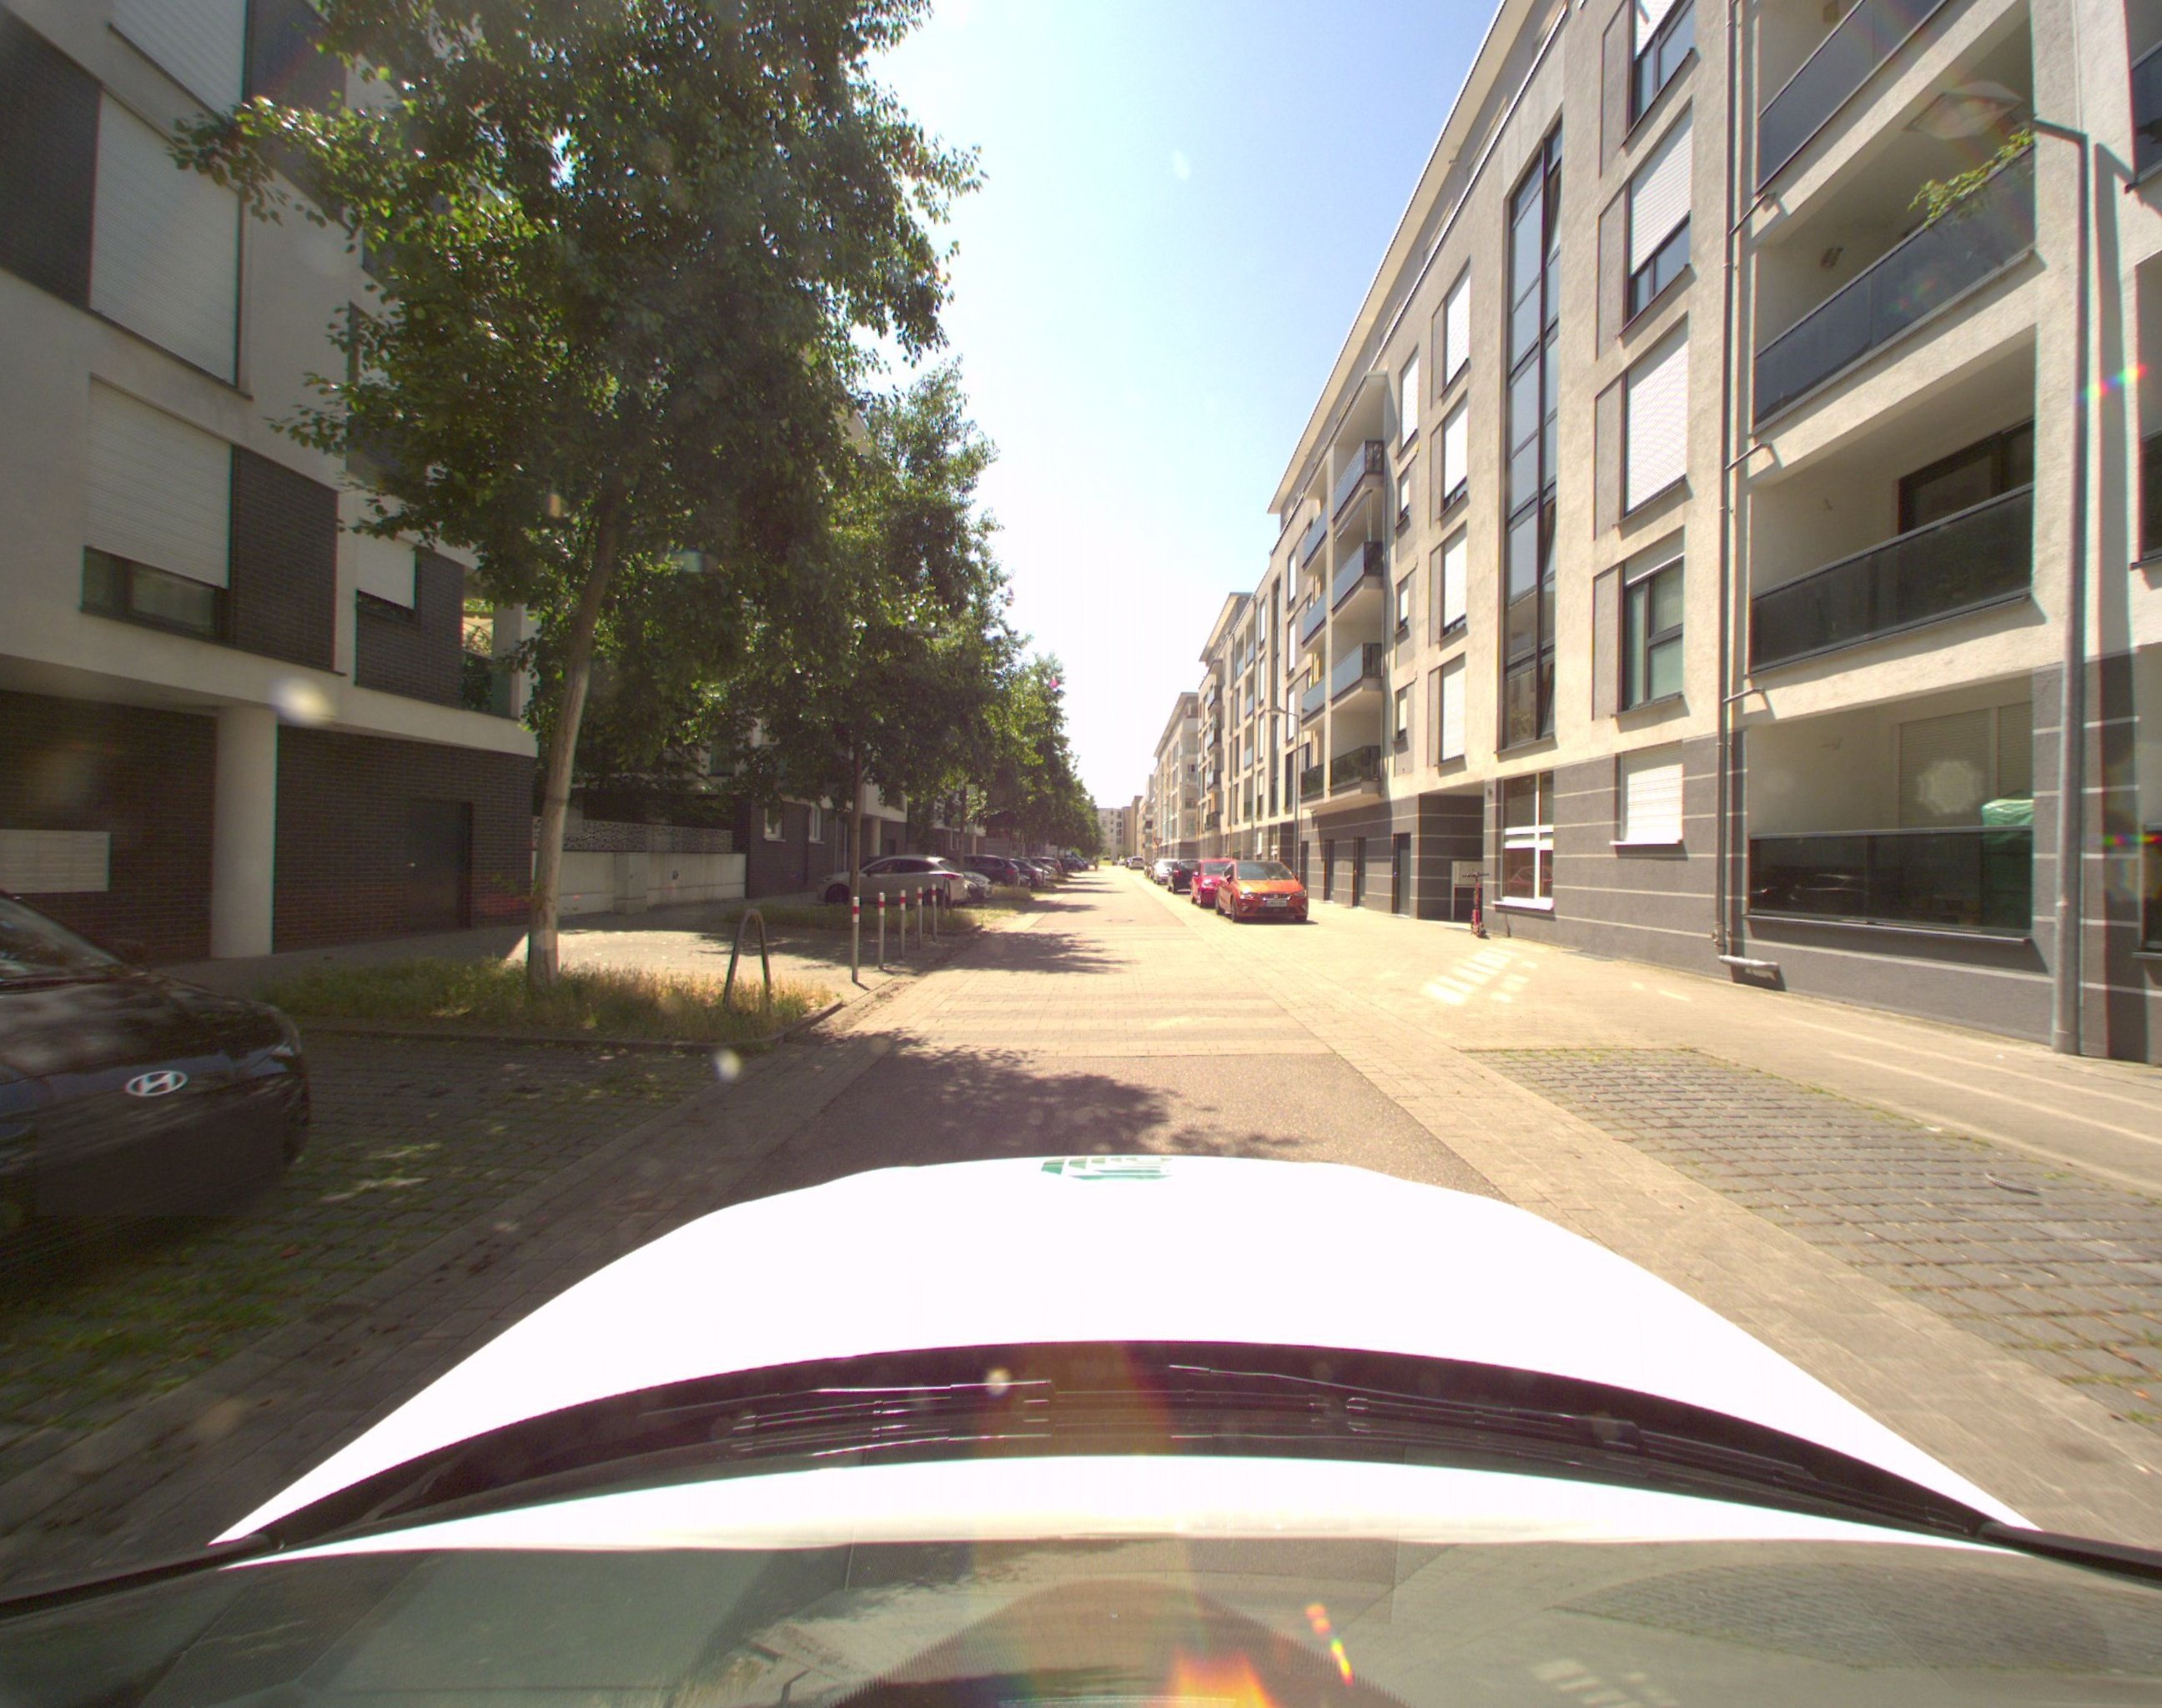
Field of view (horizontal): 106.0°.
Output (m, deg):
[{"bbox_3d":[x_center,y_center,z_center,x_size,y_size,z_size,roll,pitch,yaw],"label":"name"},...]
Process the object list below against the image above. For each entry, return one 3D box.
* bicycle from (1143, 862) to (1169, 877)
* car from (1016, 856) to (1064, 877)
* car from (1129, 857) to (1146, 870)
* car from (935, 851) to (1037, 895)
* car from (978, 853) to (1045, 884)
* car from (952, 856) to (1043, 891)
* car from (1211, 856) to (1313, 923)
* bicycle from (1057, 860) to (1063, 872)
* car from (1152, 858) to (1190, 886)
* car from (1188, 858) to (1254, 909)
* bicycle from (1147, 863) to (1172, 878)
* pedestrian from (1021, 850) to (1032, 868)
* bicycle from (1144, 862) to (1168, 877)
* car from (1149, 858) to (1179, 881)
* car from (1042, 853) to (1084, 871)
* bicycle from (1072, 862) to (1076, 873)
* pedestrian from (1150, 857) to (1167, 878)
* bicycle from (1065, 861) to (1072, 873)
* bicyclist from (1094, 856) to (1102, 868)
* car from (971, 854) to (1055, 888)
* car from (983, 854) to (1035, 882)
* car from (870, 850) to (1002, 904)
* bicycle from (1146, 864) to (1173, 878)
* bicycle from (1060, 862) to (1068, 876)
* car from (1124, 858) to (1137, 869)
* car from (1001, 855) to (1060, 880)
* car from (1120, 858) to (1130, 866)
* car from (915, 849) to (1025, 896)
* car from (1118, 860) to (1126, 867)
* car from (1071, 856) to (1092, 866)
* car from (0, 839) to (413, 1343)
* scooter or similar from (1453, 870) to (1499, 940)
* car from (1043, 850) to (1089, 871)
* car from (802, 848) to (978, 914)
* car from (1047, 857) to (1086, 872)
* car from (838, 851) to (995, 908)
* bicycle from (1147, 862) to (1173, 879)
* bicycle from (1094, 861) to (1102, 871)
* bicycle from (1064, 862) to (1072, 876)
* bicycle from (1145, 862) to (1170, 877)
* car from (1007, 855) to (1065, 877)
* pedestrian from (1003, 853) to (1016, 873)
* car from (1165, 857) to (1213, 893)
[{"bbox_3d":[5.693,1.217,62.126,1.911,1.133,0.611,0,-1,10],"label":"bicycle"},{"bbox_3d":[-3.223,0.975,64.762,3.616,1.520,1.832,2,0,1],"label":"car"},{"bbox_3d":[7.145,1.220,102.866,1.989,1.657,4.117,0,0,2],"label":"car"},{"bbox_3d":[-3.983,0.794,34.706,3.970,1.651,1.920,2,0,3],"label":"car"},{"bbox_3d":[-3.964,0.837,46.788,3.700,1.586,1.818,2,-1,-4],"label":"car"},{"bbox_3d":[-3.783,0.877,37.347,3.964,1.445,1.774,2,-1,-2],"label":"car"},{"bbox_3d":[4.407,0.817,20.422,1.731,1.487,4.260,-1,0,2],"label":"car"},{"bbox_3d":[-2.229,1.301,86.012,0.517,1.204,1.752,2,1,0],"label":"bicycle"},{"bbox_3d":[5.168,1.017,47.114,1.827,1.505,4.352,-1,0,2],"label":"car"},{"bbox_3d":[4.386,0.873,25.960,1.589,1.486,3.677,-1,0,2],"label":"car"},{"bbox_3d":[5.744,1.222,59.818,1.782,1.104,0.746,0,-1,-2],"label":"bicycle"},{"bbox_3d":[-5.898,0.533,87.756,1.004,2.014,1.131,0,-1,5],"label":"pedestrian"},{"bbox_3d":[5.880,1.212,64.120,1.851,1.193,0.688,0,-1,4],"label":"bicycle"},{"bbox_3d":[5.627,1.009,55.428,1.732,1.485,4.231,0,0,2],"label":"car"},{"bbox_3d":[-2.230,1.045,103.075,5.126,2.119,2.312,2,0,1],"label":"car"},{"bbox_3d":[-0.747,1.414,85.937,0.464,1.141,1.926,1,0,0],"label":"bicycle"},{"bbox_3d":[5.812,1.010,61.303,1.178,1.515,0.686,0,-1,-8],"label":"pedestrian"},{"bbox_3d":[-1.343,1.352,85.732,0.569,1.174,1.765,4,1,-5],"label":"bicycle"},{"bbox_3d":[1.970,0.961,95.632,0.950,1.459,0.800,1,-1,1],"label":"bicyclist"},{"bbox_3d":[-3.647,0.897,44.364,4.347,1.710,1.999,-1,0,-1],"label":"car"},{"bbox_3d":[-4.364,0.862,49.802,2.923,1.500,1.848,3,0,0],"label":"car"},{"bbox_3d":[-4.778,0.729,27.283,3.971,1.592,1.885,2,0,2],"label":"car"},{"bbox_3d":[5.818,1.272,60.510,1.918,1.035,0.559,0,-1,-2],"label":"bicycle"},{"bbox_3d":[-1.403,1.269,67.209,0.434,1.128,1.972,0,0,-10],"label":"bicycle"},{"bbox_3d":[7.475,1.450,122.980,1.749,1.552,4.006,1,0,5],"label":"car"},{"bbox_3d":[-3.484,0.932,56.949,3.923,1.553,1.873,2,0,1],"label":"car"},{"bbox_3d":[9.218,1.757,171.523,1.987,1.675,4.000,1,0,1],"label":"car"},{"bbox_3d":[-4.315,0.712,32.186,3.972,1.629,1.934,2,0,1],"label":"car"},{"bbox_3d":[9.992,2.343,198.745,1.987,1.717,4.000,1,0,1],"label":"car"},{"bbox_3d":[0.068,1.472,167.333,3.964,2.014,2.005,1,-1,8],"label":"car"},{"bbox_3d":[-5.028,0.669,3.035,3.610,1.481,1.678,2,-1,1],"label":"car"},{"bbox_3d":[7.519,0.938,15.550,0.541,1.225,1.536,1,0,17],"label":"scooter or similar"},{"bbox_3d":[-1.915,0.876,108.504,6.001,2.816,2.606,0,-1,1],"label":"car"},{"bbox_3d":[-5.128,0.713,22.281,4.237,1.517,1.925,3,0,1],"label":"car"},{"bbox_3d":[-1.715,1.254,95.870,4.366,1.515,2.076,3,0,1],"label":"car"},{"bbox_3d":[-4.921,0.754,24.723,4.300,1.476,1.793,2,0,1],"label":"car"},{"bbox_3d":[5.729,1.183,59.071,1.865,1.218,0.715,0,-1,-2],"label":"bicycle"},{"bbox_3d":[1.952,1.446,95.583,0.895,1.129,2.040,1,0,1],"label":"bicycle"},{"bbox_3d":[-1.042,1.244,67.230,0.371,1.180,1.814,0,0,-10],"label":"bicycle"},{"bbox_3d":[5.813,1.189,61.758,1.838,1.148,0.458,0,-1,-18],"label":"bicycle"},{"bbox_3d":[-3.288,0.879,59.845,4.170,1.486,1.957,2,-2,-2],"label":"car"},{"bbox_3d":[-6.288,0.774,71.401,0.996,1.690,0.833,0,-1,2],"label":"pedestrian"},{"bbox_3d":[4.672,0.898,35.730,1.636,1.462,4.119,-1,0,1],"label":"car"}]
